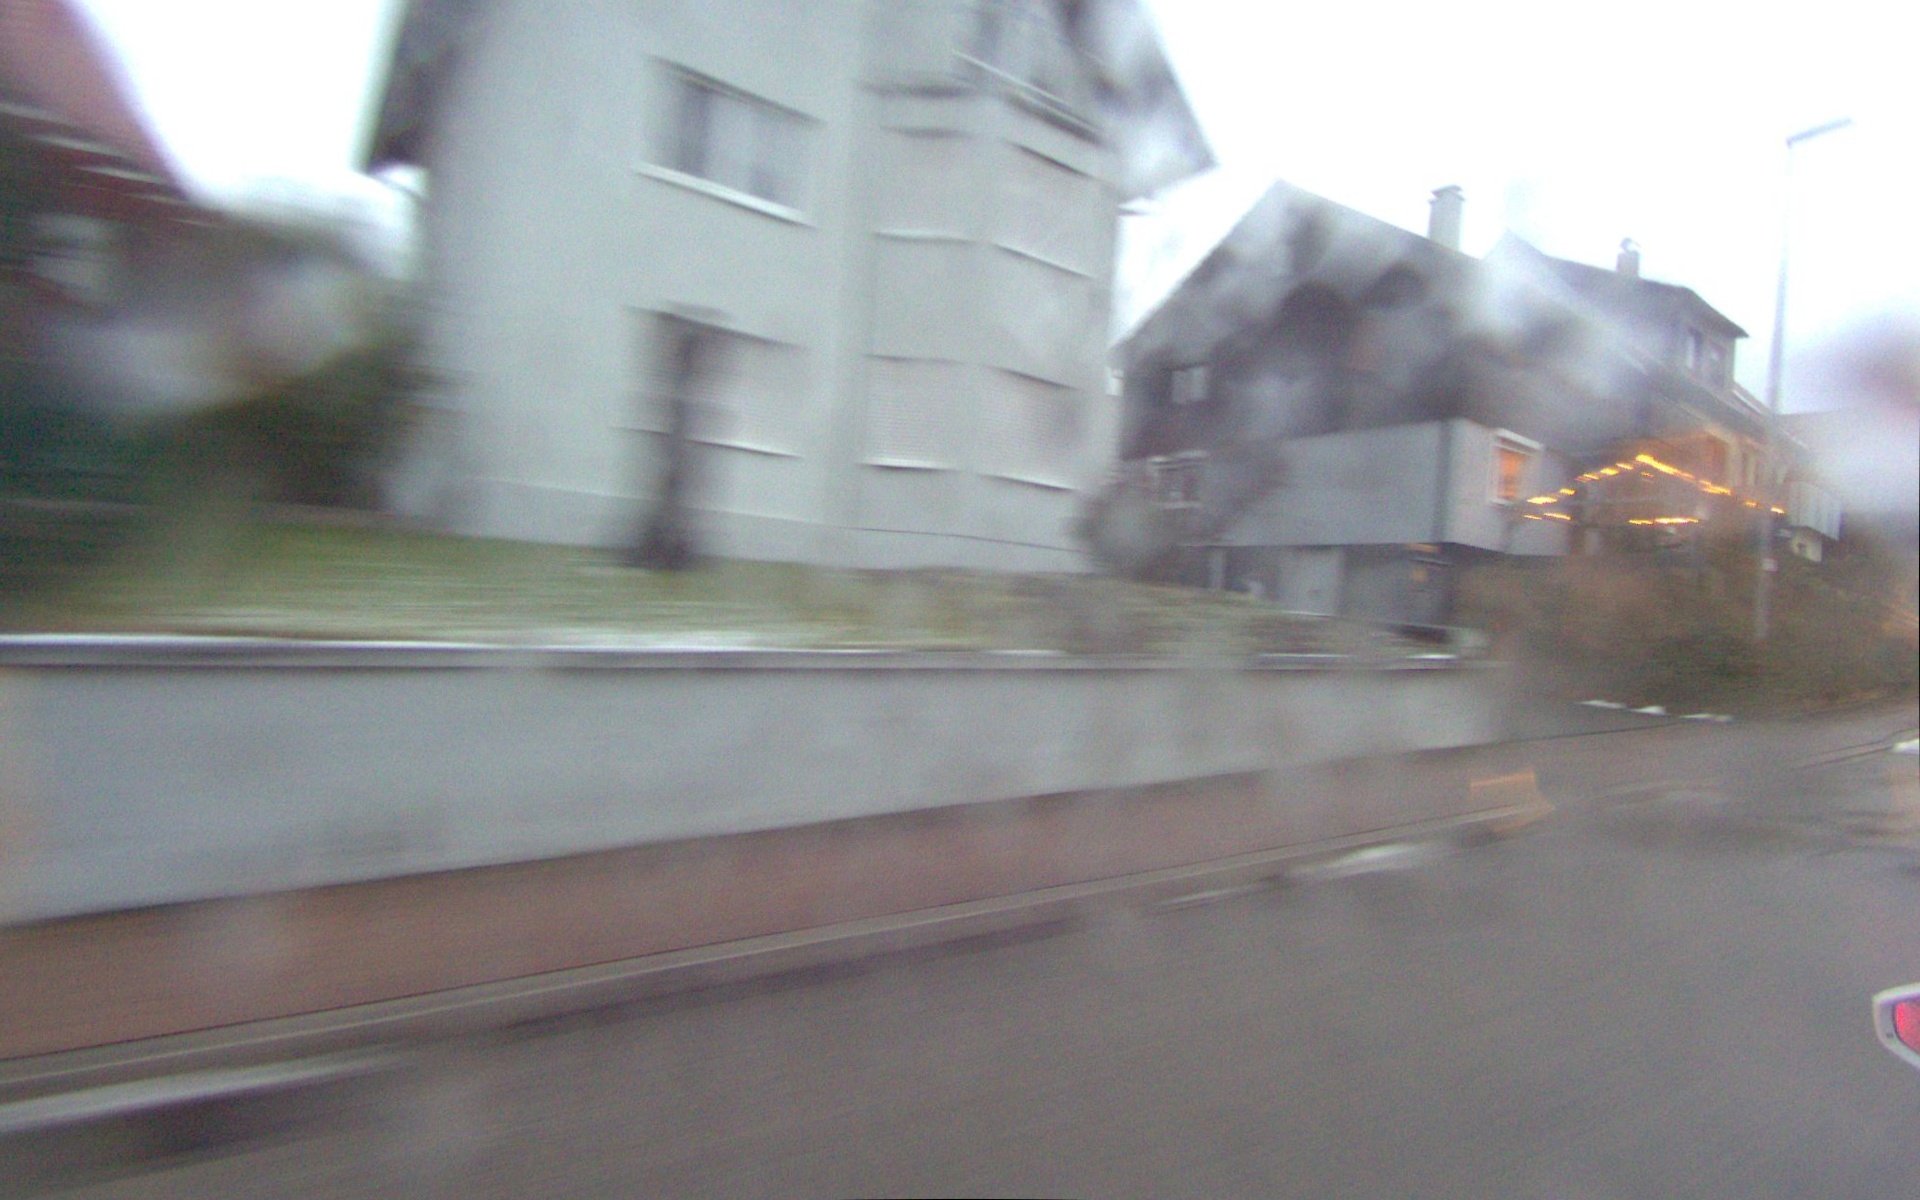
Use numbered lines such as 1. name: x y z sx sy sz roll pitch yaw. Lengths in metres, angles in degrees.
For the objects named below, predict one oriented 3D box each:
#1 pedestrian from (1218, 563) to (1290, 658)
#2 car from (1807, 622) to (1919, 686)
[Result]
1. pedestrian: 5.788 0.197 19.809 0.972 1.755 0.817 3 3 -14
2. car: 24.450 1.393 26.028 1.753 1.548 3.447 1 0 -30
